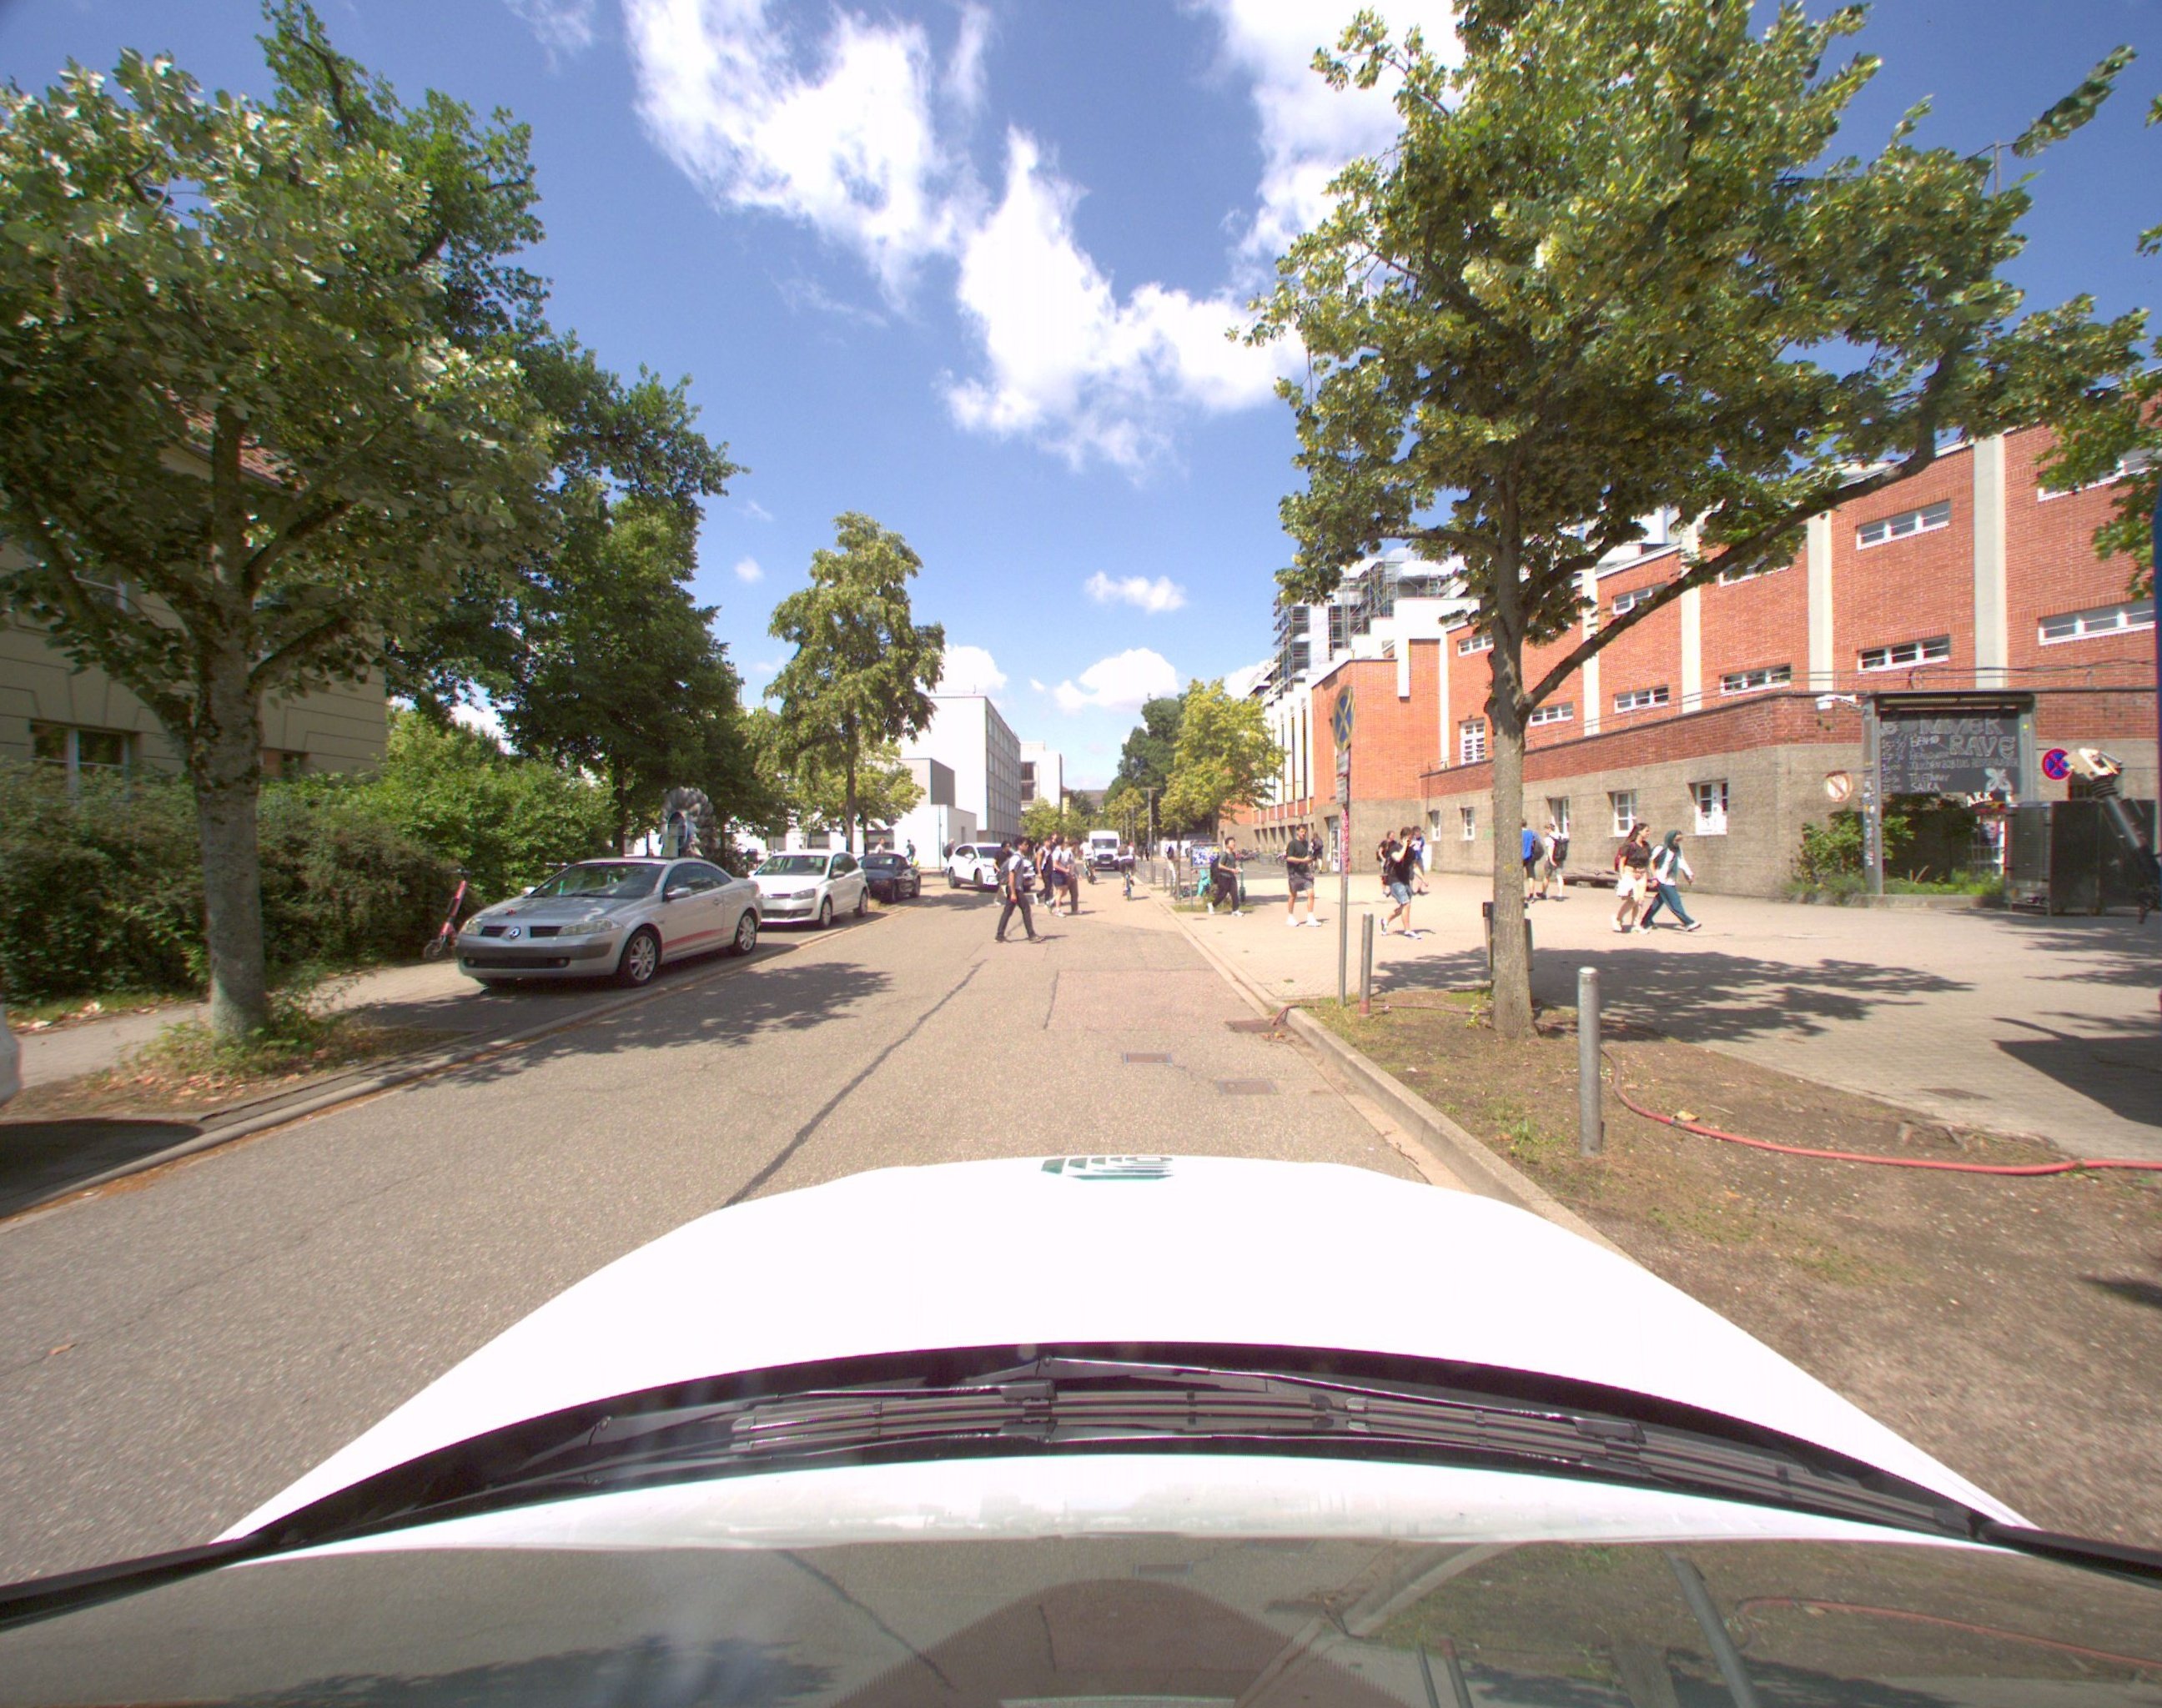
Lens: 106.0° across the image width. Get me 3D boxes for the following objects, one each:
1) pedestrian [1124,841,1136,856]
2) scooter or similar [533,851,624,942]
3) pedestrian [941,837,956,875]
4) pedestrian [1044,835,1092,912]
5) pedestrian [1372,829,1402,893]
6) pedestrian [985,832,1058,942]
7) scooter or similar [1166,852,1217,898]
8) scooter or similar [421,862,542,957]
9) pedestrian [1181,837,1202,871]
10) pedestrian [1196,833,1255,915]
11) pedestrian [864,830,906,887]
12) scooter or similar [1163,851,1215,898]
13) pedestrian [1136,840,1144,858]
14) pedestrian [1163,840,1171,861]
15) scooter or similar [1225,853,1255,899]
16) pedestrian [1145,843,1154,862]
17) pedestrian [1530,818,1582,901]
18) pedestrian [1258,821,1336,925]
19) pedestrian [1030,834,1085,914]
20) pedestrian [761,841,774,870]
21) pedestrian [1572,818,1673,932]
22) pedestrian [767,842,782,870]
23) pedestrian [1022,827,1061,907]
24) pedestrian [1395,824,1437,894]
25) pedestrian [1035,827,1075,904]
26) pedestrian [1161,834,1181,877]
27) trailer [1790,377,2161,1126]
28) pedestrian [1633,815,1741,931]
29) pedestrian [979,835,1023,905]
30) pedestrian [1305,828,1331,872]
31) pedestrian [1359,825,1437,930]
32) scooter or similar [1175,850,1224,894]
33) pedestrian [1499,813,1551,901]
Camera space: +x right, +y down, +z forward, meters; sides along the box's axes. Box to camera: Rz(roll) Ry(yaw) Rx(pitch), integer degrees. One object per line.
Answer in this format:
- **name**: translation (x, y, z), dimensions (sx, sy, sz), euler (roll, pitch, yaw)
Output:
- **pedestrian**: translation (6.998, -0.789, 116.834), dimensions (1.495, 1.996, 1.646), euler (-4, 1, -1)
- **scooter or similar**: translation (-7.797, 0.631, 12.694), dimensions (0.522, 1.287, 1.229), euler (-4, 1, 1)
- **pedestrian**: translation (-6.299, 0.110, 38.673), dimensions (0.667, 1.785, 0.981), euler (0, -1, -12)
- **pedestrian**: translation (-0.303, 0.438, 18.928), dimensions (0.897, 1.739, 0.683), euler (0, 1, 39)
- **pedestrian**: translation (8.009, 0.179, 21.318), dimensions (0.501, 1.630, 0.570), euler (-2, 0, -6)
- **pedestrian**: translation (-0.971, 0.527, 13.307), dimensions (1.103, 1.715, 0.709), euler (1, 2, -5)
- **scooter or similar**: translation (3.164, 0.582, 23.326), dimensions (1.248, 1.265, 0.655), euler (-1, 1, 33)
- **scooter or similar**: translation (-7.970, 0.709, 10.876), dimensions (0.466, 1.171, 1.234), euler (0, 0, 21)
- **pedestrian**: translation (5.694, -0.007, 42.071), dimensions (0.851, 1.732, 1.160), euler (-1, 0, -1)
- **pedestrian**: translation (3.164, 0.416, 17.830), dimensions (0.707, 1.719, 0.982), euler (-3, 1, -42)
- **pedestrian**: translation (-6.800, 0.161, 28.176), dimensions (1.022, 1.903, 1.166), euler (2, -1, -35)
- **scooter or similar**: translation (2.988, 0.556, 22.573), dimensions (1.248, 1.265, 0.655), euler (-1, 1, 33)
- **pedestrian**: translation (5.941, -0.511, 81.858), dimensions (0.787, 1.859, 1.244), euler (-1, 0, 2)
- **pedestrian**: translation (7.546, -0.311, 71.424), dimensions (0.574, 1.859, 0.569), euler (-1, 0, -1)
- **scooter or similar**: translation (4.264, 0.579, 21.780), dimensions (0.643, 1.160, 1.270), euler (-1, 1, 16)
- **pedestrian**: translation (6.859, -0.127, 81.500), dimensions (0.787, 1.859, 1.026), euler (-1, 0, 2)
- **pedestrian**: translation (10.648, 0.105, 18.284), dimensions (0.696, 1.803, 0.997), euler (-2, 1, 12)
- **pedestrian**: translation (4.059, 0.332, 15.355), dimensions (0.858, 1.859, 1.104), euler (-1, 1, -34)
- **pedestrian**: translation (-0.527, 0.426, 18.228), dimensions (0.971, 1.739, 0.705), euler (0, 1, 38)
- **pedestrian**: translation (-19.426, 0.070, 50.423), dimensions (0.549, 1.764, 0.586), euler (0, 0, 1)
- **pedestrian**: translation (8.270, 0.303, 12.479), dimensions (0.872, 1.638, 0.949), euler (-2, 0, 1)
- **pedestrian**: translation (-19.278, 0.096, 51.286), dimensions (0.690, 1.749, 0.636), euler (0, 0, 1)
- **pedestrian**: translation (-1.020, 0.325, 20.818), dimensions (0.620, 1.980, 0.821), euler (-1, -1, -30)
- **pedestrian**: translation (8.797, 0.122, 21.425), dimensions (0.707, 1.787, 0.751), euler (-2, 0, -6)
- **pedestrian**: translation (-0.688, 0.283, 21.554), dimensions (0.819, 1.980, 0.695), euler (0, 1, 23)
- **pedestrian**: translation (3.671, 0.057, 33.402), dimensions (0.700, 1.694, 0.962), euler (-2, 2, 1)
- **trailer**: translation (5.749, -0.431, 1.914), dimensions (2.683, 3.051, 6.257), euler (-2, 1, 0)
- **pedestrian**: translation (9.228, 0.259, 12.439), dimensions (0.873, 1.637, 0.948), euler (-5, 3, -3)
- **pedestrian**: translation (-2.066, 0.385, 21.151), dimensions (0.794, 1.772, 0.859), euler (0, 1, 23)
- **pedestrian**: translation (10.303, -0.181, 35.417), dimensions (0.787, 1.859, 1.116), euler (-1, 0, 0)
- **pedestrian**: translation (5.036, 0.350, 12.946), dimensions (0.855, 1.595, 0.820), euler (-3, 1, -42)
- **scooter or similar**: translation (3.516, 0.538, 24.154), dimensions (1.248, 1.265, 0.644), euler (-1, 1, 33)
- **pedestrian**: translation (10.014, 0.054, 18.396), dimensions (0.696, 1.891, 0.998), euler (-3, 1, 13)
